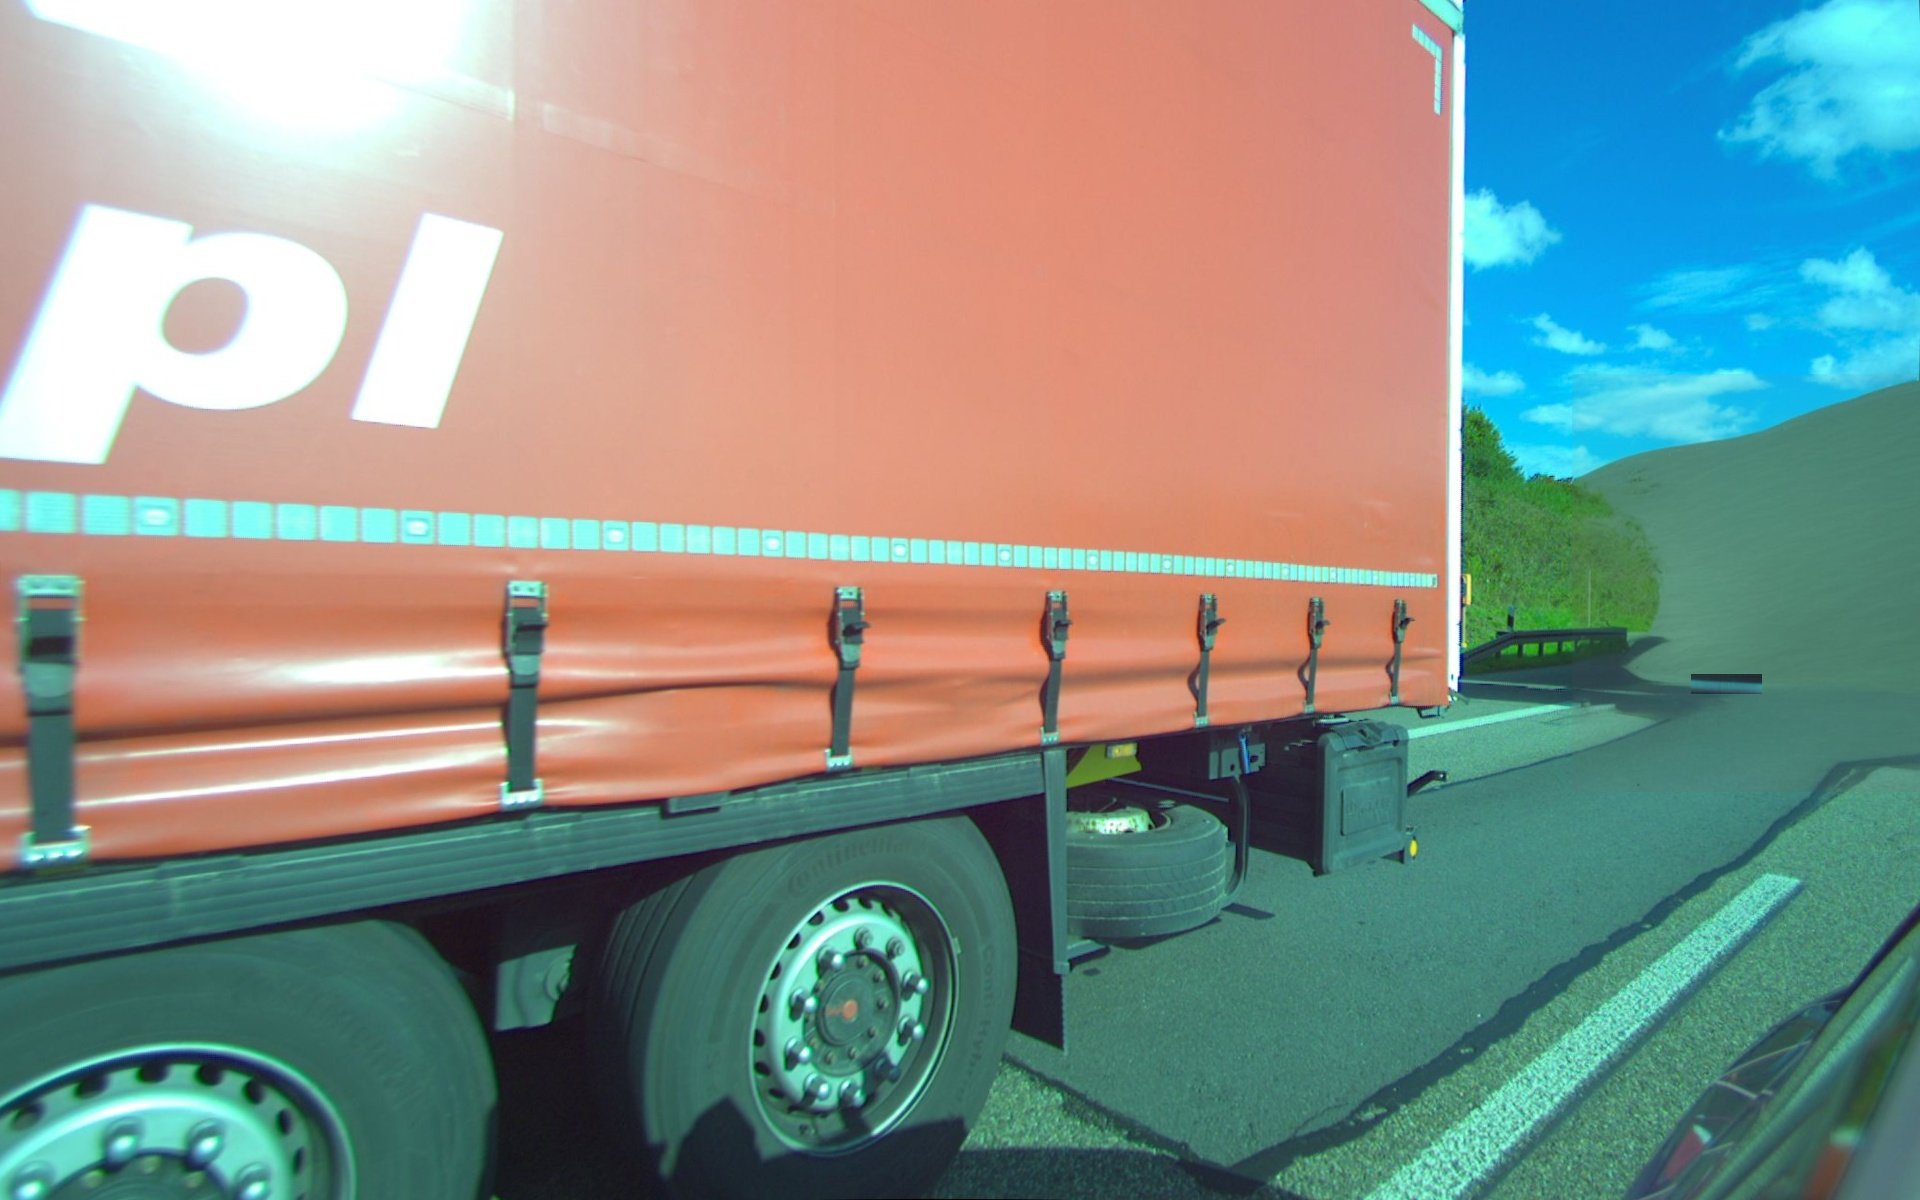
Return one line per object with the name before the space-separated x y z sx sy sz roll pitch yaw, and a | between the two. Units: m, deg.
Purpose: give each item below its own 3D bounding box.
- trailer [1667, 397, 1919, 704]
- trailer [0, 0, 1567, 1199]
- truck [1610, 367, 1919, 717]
trailer | 16.541 -0.698 18.674 13.132 4.051 2.622 0 0 -41
trailer | -3.611 -0.654 0.323 14.051 4.047 2.332 -1 1 -41
truck | 11.839 -0.672 14.590 5.851 4.033 2.632 0 0 -41
